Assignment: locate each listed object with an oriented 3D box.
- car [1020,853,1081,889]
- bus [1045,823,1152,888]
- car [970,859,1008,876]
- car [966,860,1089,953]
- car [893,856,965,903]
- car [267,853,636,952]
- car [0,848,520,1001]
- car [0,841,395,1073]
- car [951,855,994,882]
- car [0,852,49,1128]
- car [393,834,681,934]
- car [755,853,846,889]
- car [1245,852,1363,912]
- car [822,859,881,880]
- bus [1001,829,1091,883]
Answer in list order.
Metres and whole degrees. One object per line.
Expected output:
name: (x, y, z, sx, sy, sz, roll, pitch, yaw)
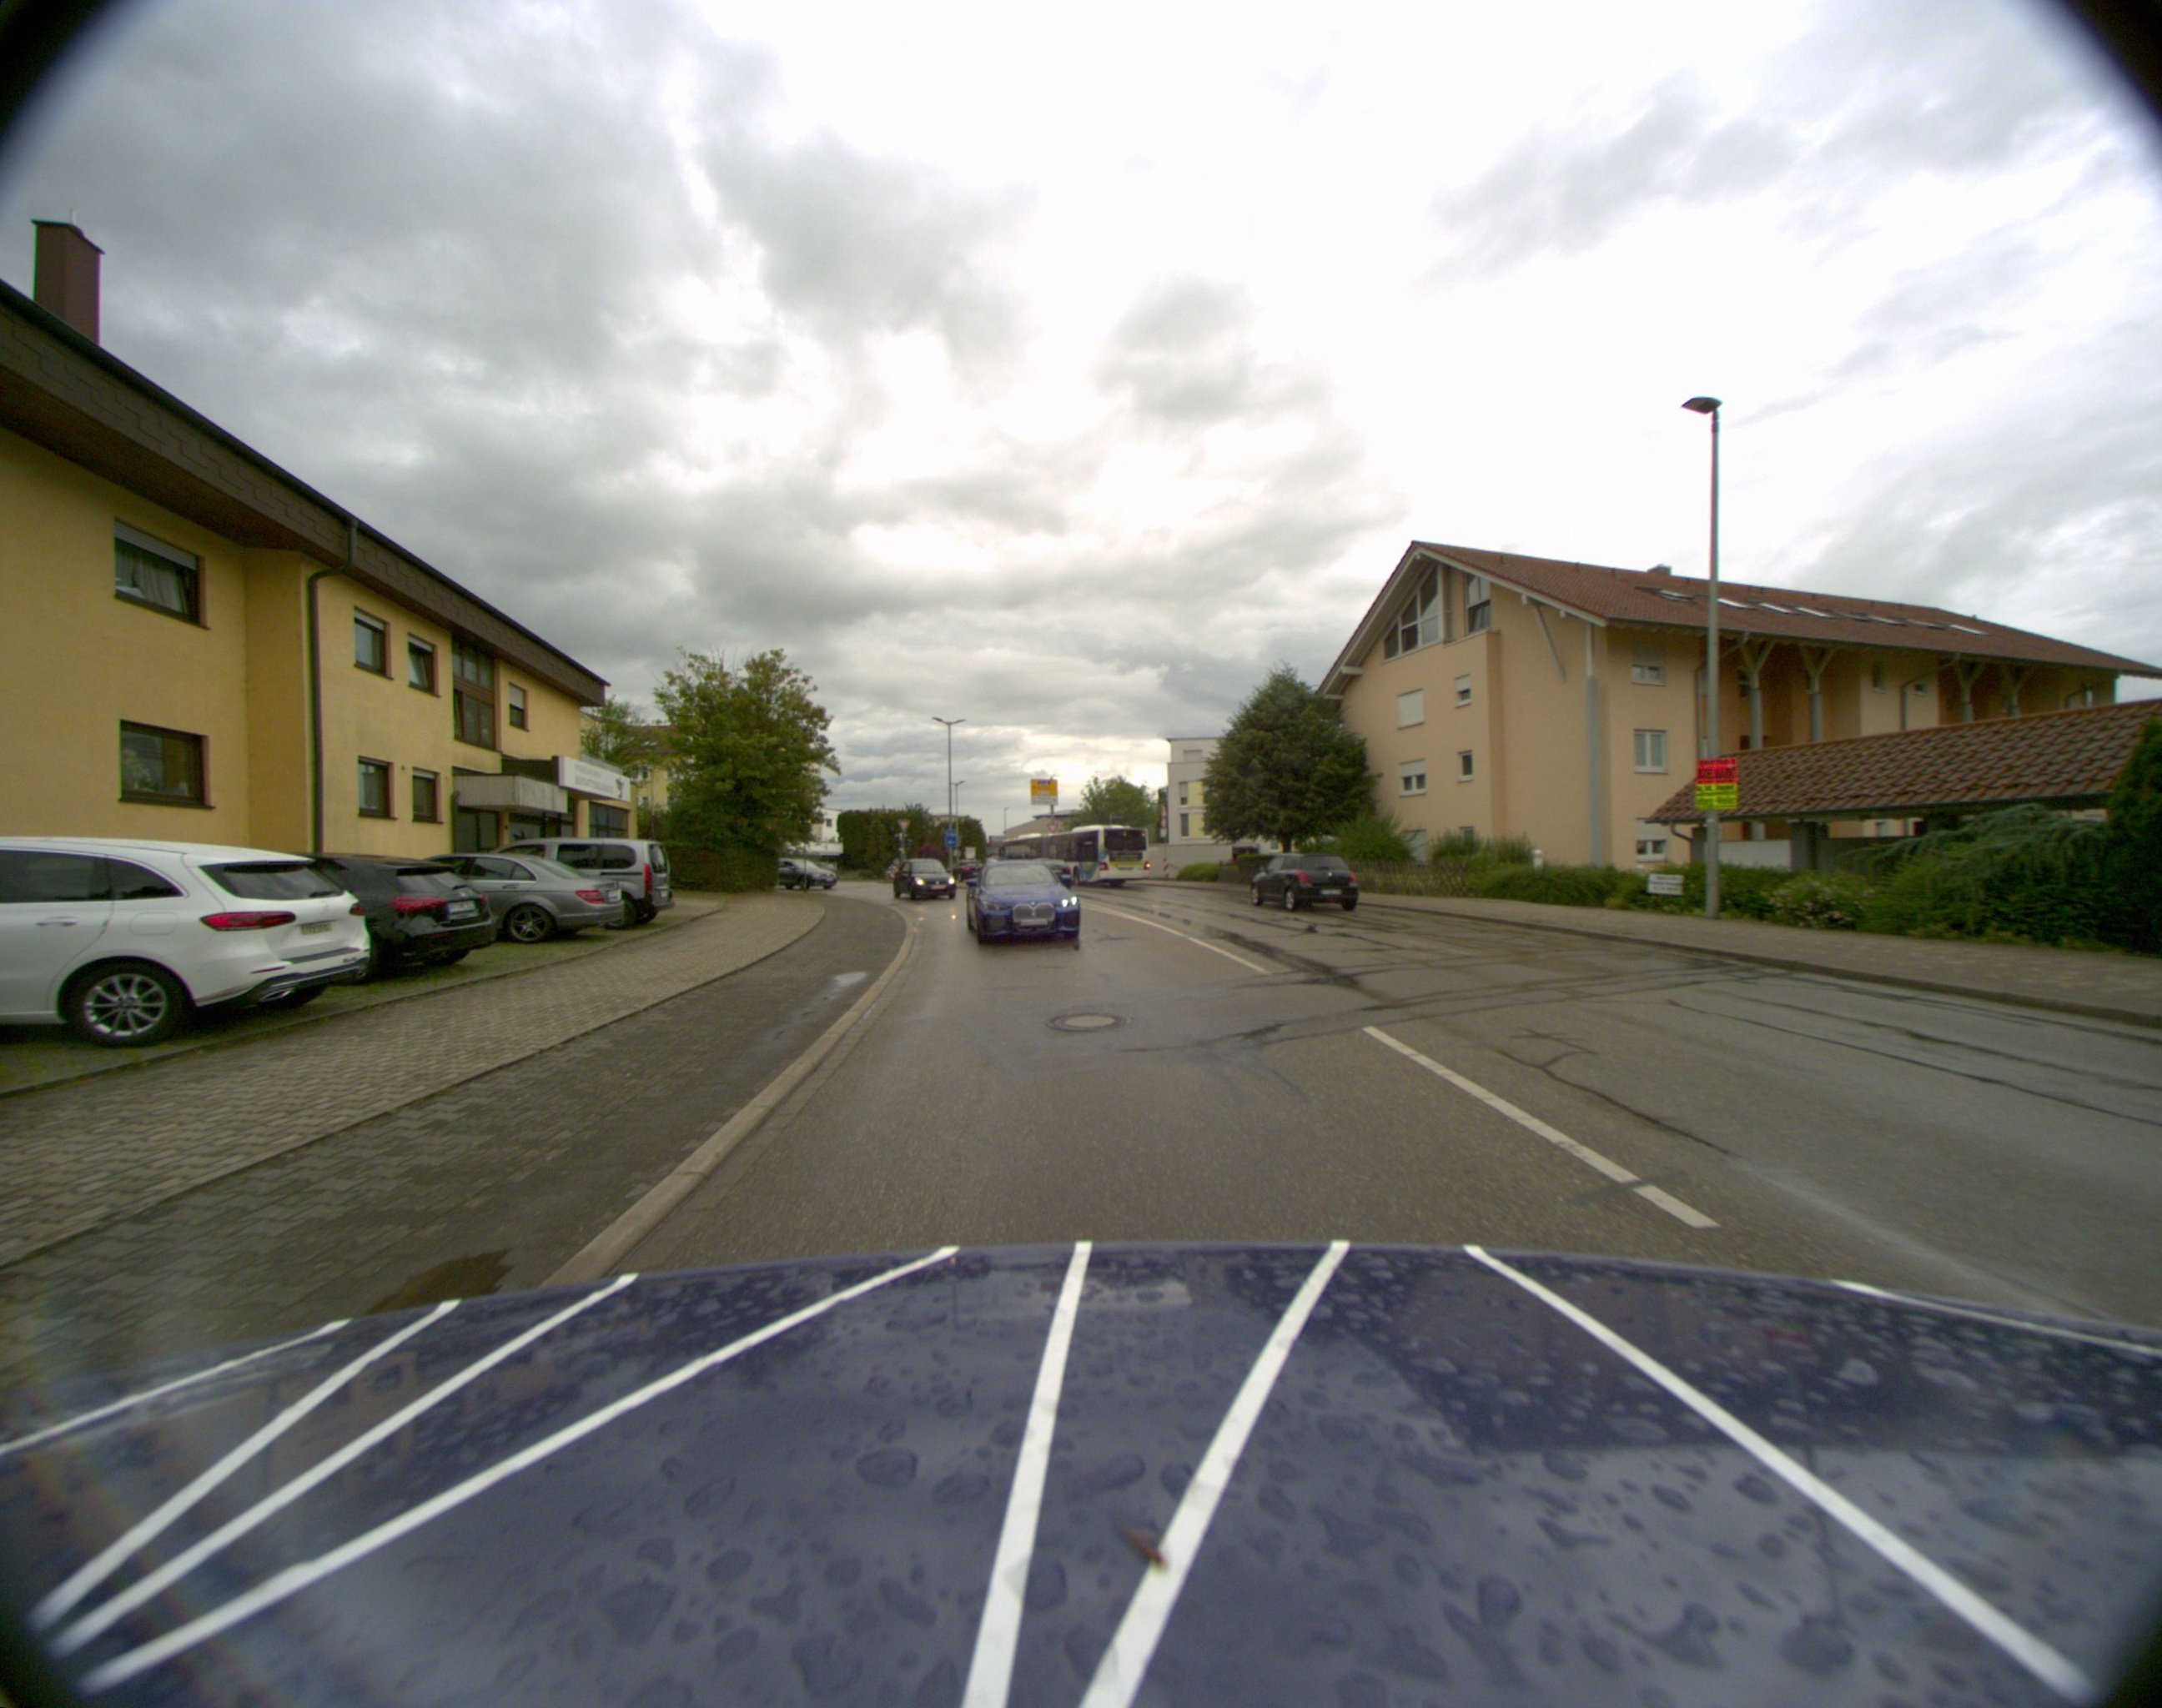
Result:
car: (-1.481, 0.727, 35.360, 1.867, 1.509, 4.286, -3, 1, -15)
bus: (0.655, 0.084, 39.179, 2.597, 2.982, 8.390, 0, 0, -21)
car: (-9.333, 1.343, 77.419, 1.995, 1.630, 4.006, 0, 1, 24)
car: (-1.208, 0.889, 14.916, 1.915, 1.487, 4.345, -2, 0, -10)
car: (-5.935, 0.913, 29.290, 1.749, 1.511, 3.990, -3, 3, -25)
car: (-10.171, 0.800, 12.691, 4.378, 1.415, 1.693, 3, 0, -16)
car: (-9.315, 0.767, 8.790, 4.059, 1.481, 1.903, 3, 0, -12)
car: (-8.555, 0.722, 6.099, 4.060, 1.587, 1.893, 3, 0, -16)
car: (-7.174, 0.909, 49.936, 1.959, 1.511, 4.165, -1, 2, -20)
car: (-8.008, 0.707, 3.173, 4.060, 1.587, 1.902, 3, 0, -14)
car: (-10.801, 0.604, 15.487, 4.311, 1.771, 1.902, 3, 0, -16)
car: (-14.860, 0.878, 40.279, 4.297, 1.740, 1.971, -1, 3, 23)
car: (5.729, 0.688, 19.978, 1.593, 1.413, 3.692, 0, -1, -8)
car: (-17.275, 1.142, 57.212, 3.929, 1.478, 1.831, -1, 0, 17)
bus: (-2.380, 0.129, 46.685, 2.558, 2.982, 9.186, 0, 0, -23)
